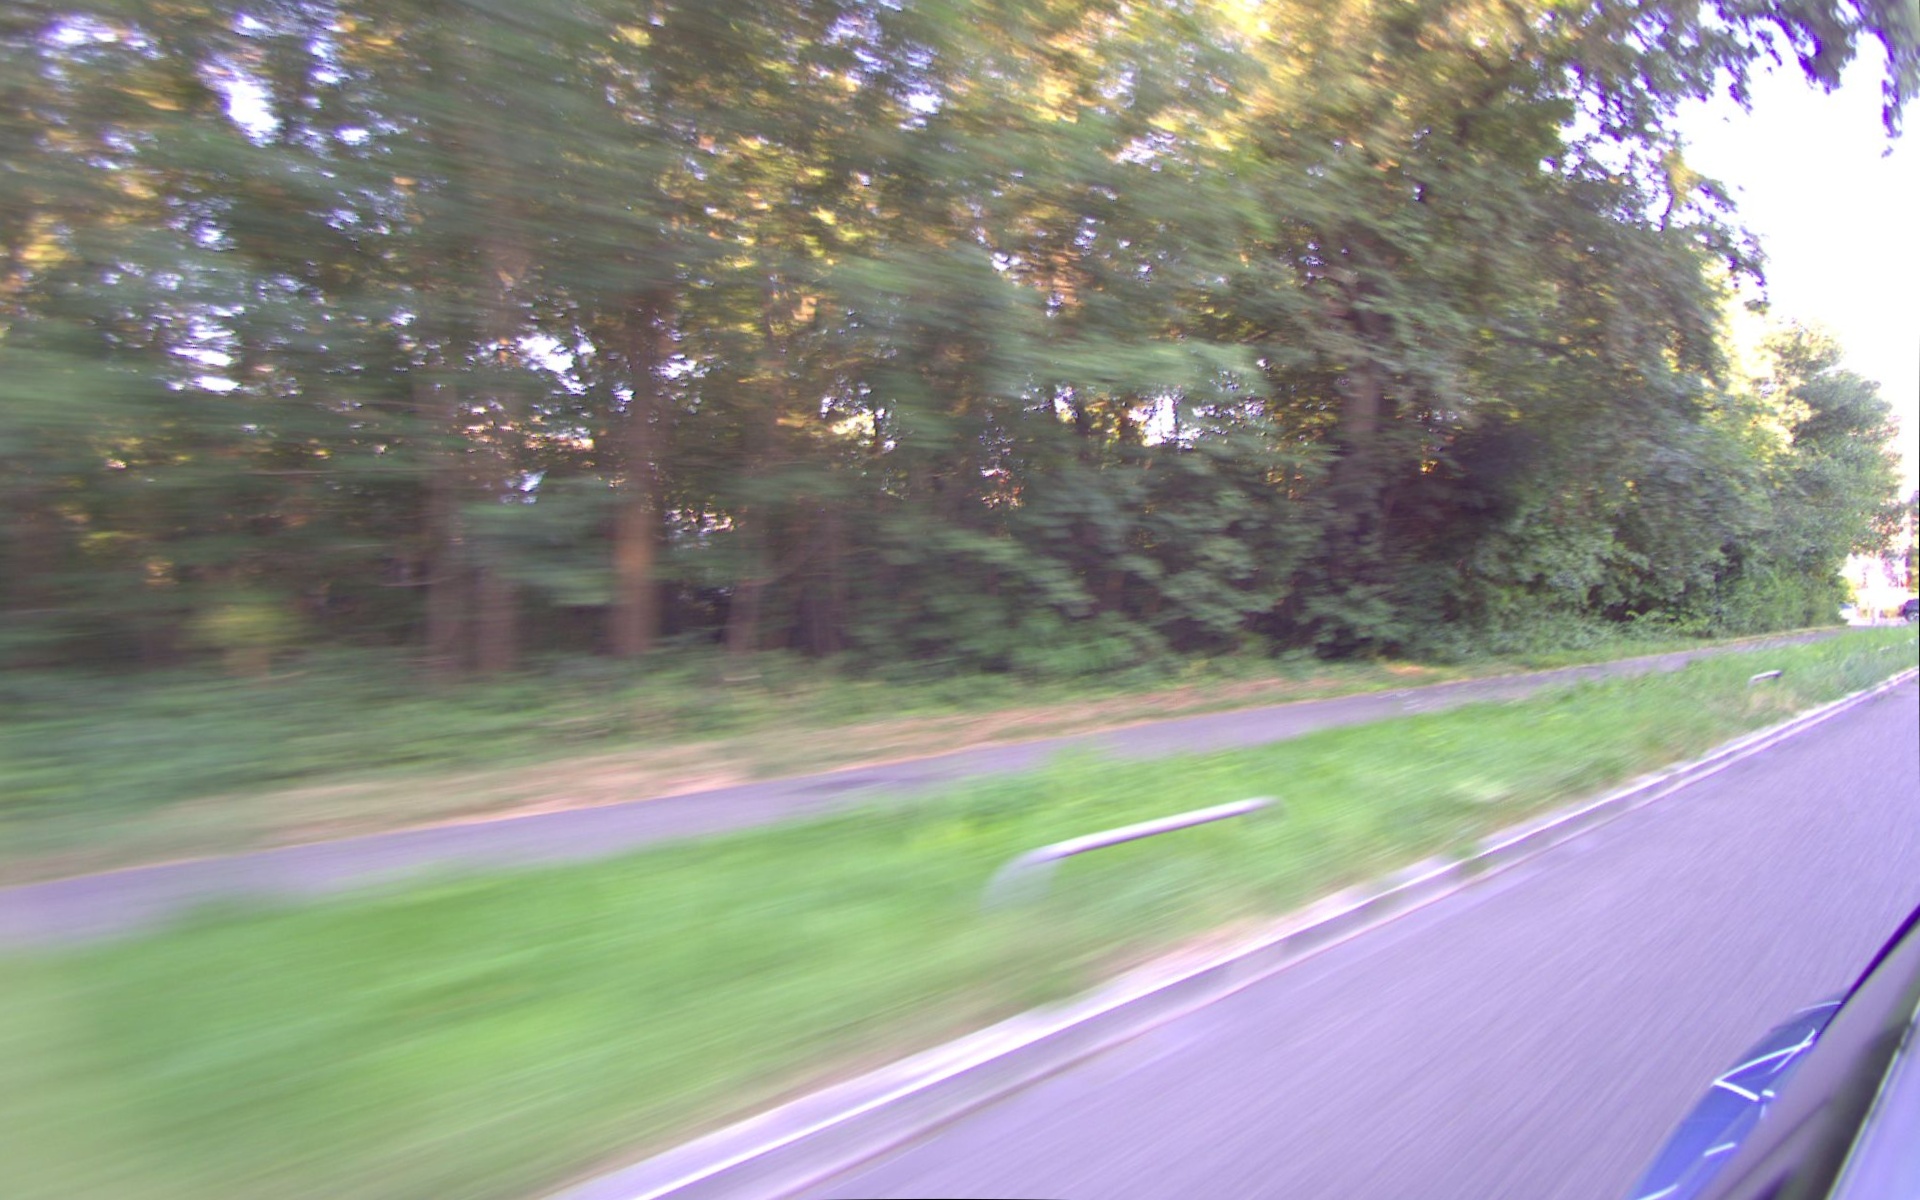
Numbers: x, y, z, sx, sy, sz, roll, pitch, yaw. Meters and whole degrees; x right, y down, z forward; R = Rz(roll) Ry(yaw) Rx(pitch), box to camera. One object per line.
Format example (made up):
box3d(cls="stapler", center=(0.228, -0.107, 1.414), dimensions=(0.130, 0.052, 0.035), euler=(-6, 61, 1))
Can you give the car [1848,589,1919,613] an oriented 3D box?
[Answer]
box3d(cls="car", center=(61.382, 0.056, 66.847), dimensions=(1.655, 1.555, 3.992), euler=(0, 1, -42))
